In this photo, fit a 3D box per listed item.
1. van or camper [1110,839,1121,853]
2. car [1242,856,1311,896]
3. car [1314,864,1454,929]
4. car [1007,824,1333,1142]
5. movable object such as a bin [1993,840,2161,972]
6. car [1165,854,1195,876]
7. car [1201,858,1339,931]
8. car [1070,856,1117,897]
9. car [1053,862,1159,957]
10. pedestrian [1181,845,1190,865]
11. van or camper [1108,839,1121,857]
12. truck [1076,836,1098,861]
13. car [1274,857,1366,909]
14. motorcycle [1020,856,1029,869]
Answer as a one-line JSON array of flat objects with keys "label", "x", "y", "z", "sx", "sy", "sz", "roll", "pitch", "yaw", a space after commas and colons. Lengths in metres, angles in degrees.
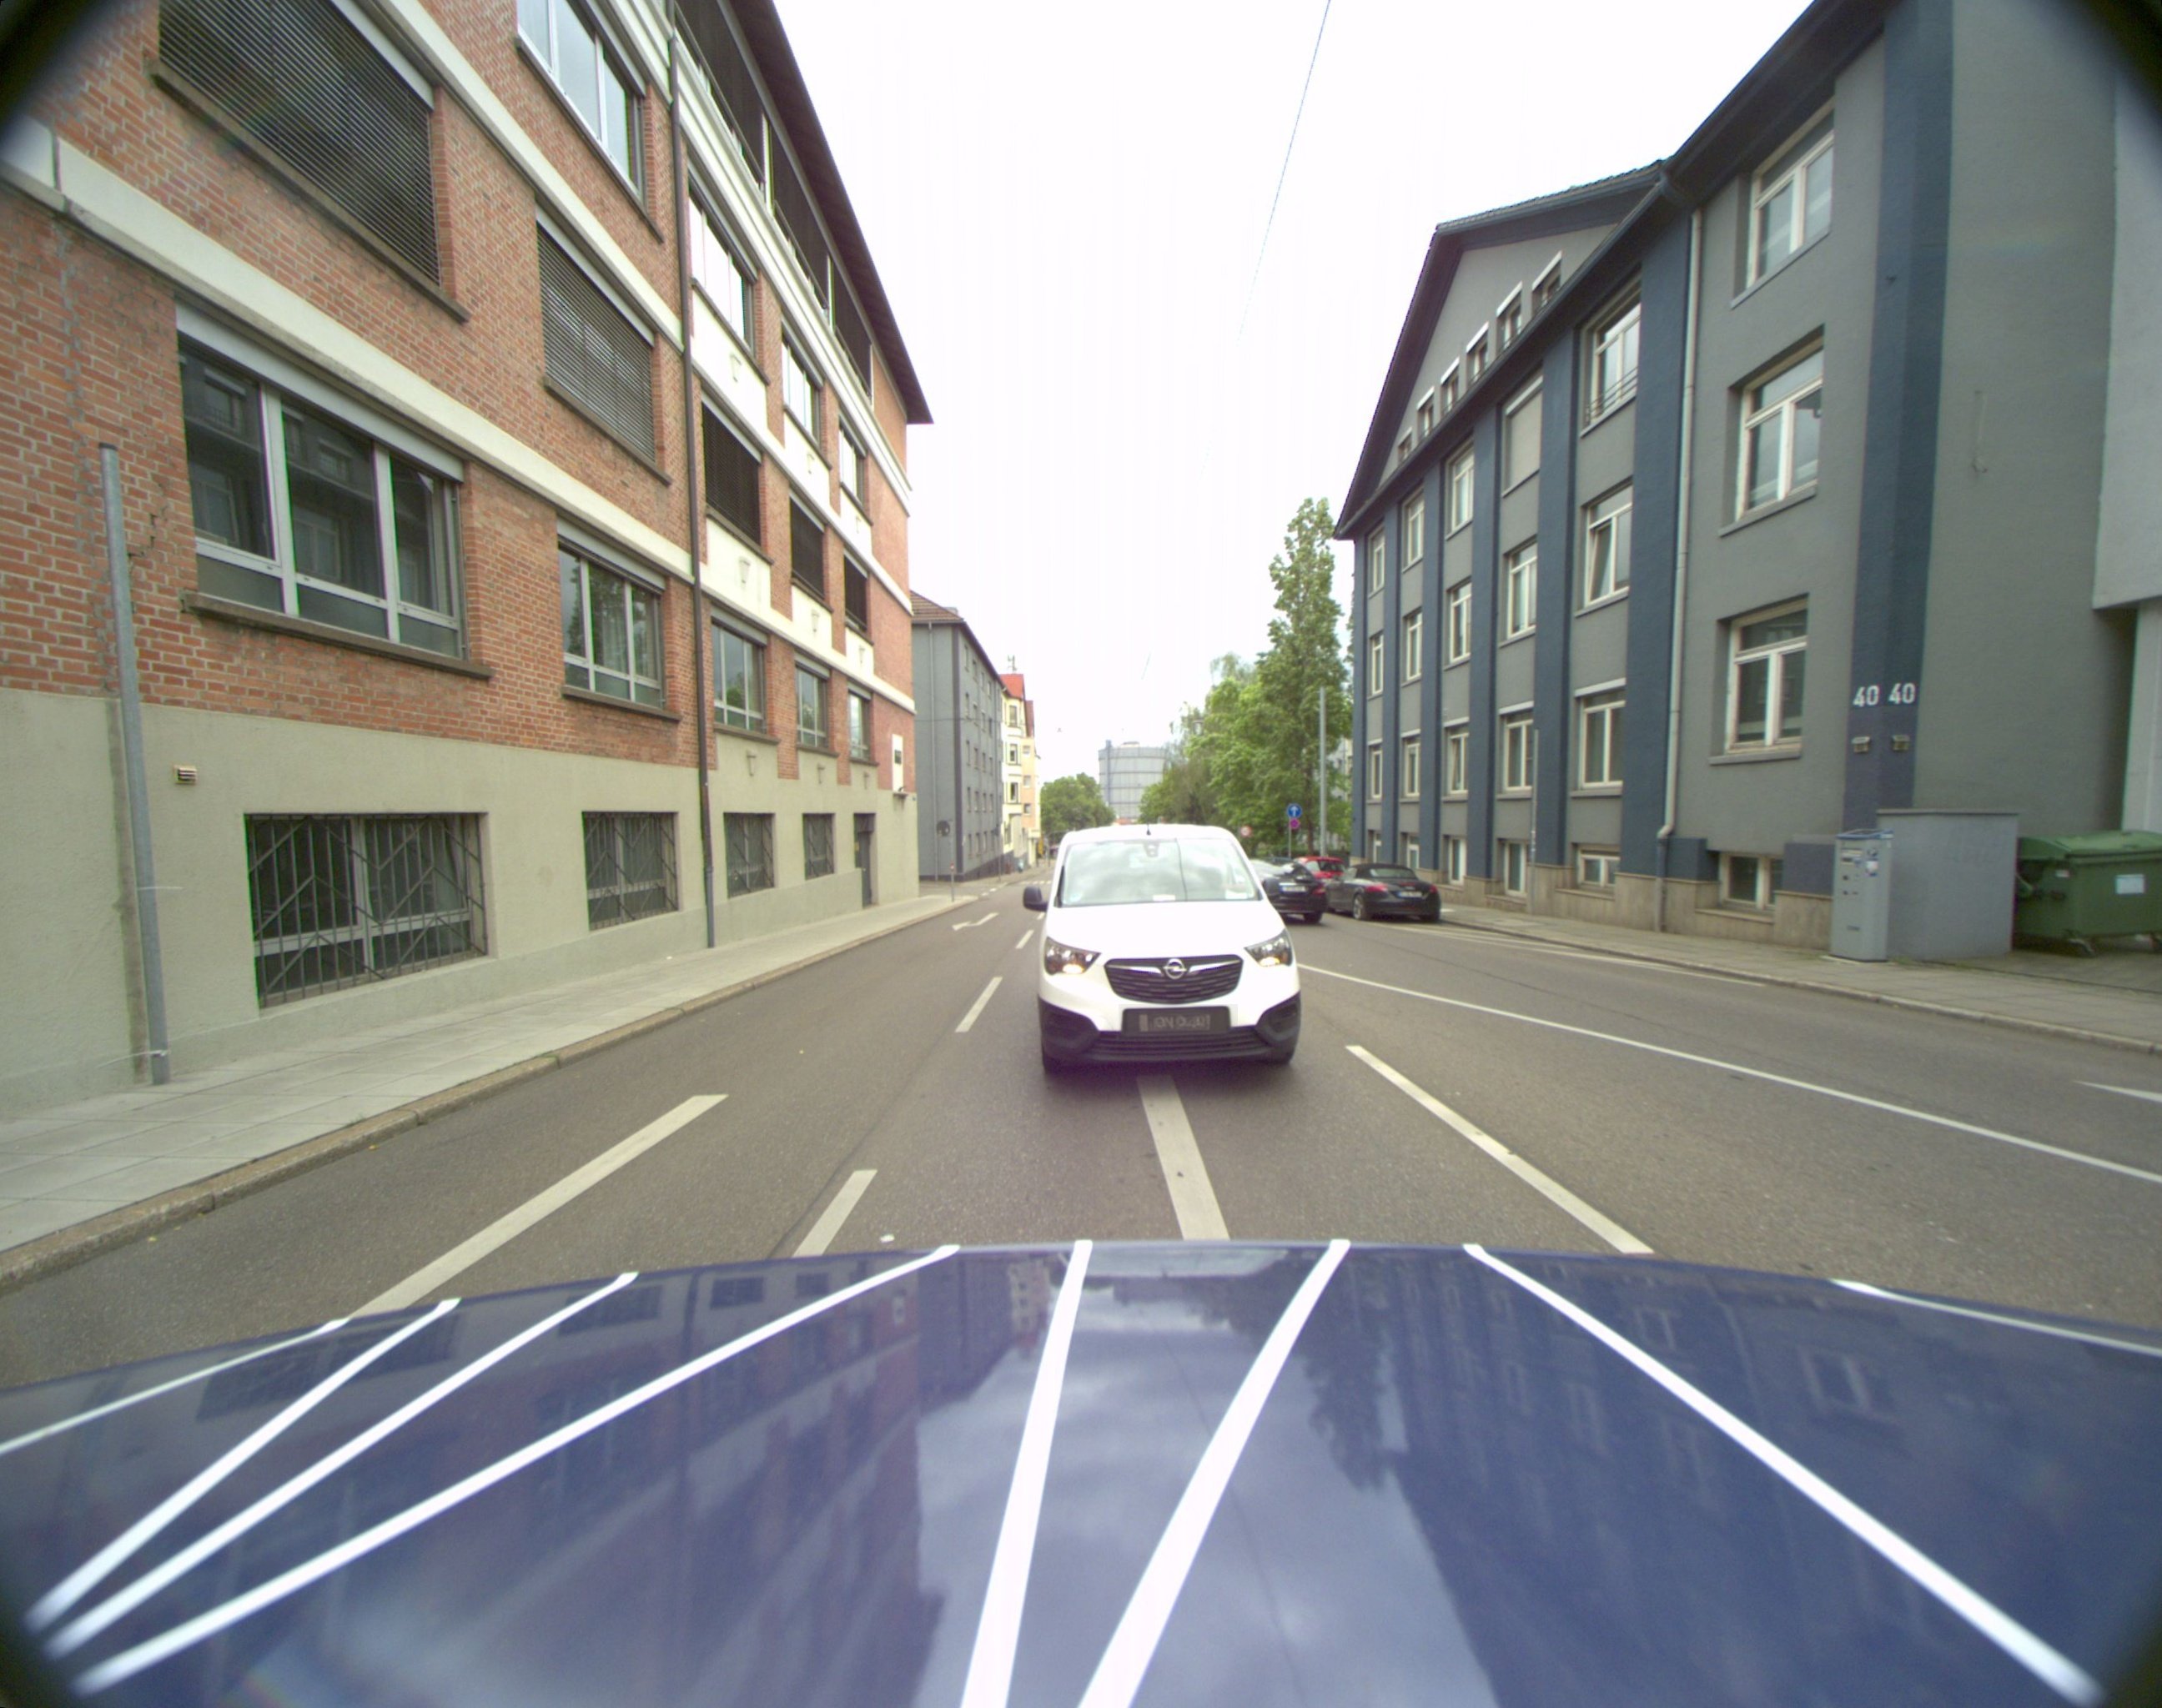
[{"label": "van or camper", "x": 6.779, "y": -1.541, "z": 149.779, "sx": 1.914, "sy": 2.754, "sz": 5.925, "roll": 1, "pitch": 0, "yaw": 2}, {"label": "car", "x": 7.588, "y": 0.809, "z": 29.860, "sx": 1.724, "sy": 1.445, "sz": 3.727, "roll": 1, "pitch": 0, "yaw": 0}, {"label": "car", "x": 7.199, "y": 0.949, "z": 18.515, "sx": 1.724, "sy": 1.319, "sz": 4.041, "roll": 2, "pitch": 0, "yaw": -1}, {"label": "car", "x": 0.567, "y": 0.750, "z": 6.913, "sx": 1.840, "sy": 1.797, "sz": 4.939, "roll": -2, "pitch": 0, "yaw": 1}, {"label": "movable object such as a bin", "x": 12.063, "y": 0.599, "z": 9.100, "sx": 1.267, "sy": 1.448, "sz": 0.784, "roll": -3, "pitch": 2, "yaw": 4}, {"label": "car", "x": 7.070, "y": 0.761, "z": 54.303, "sx": 1.677, "sy": 1.392, "sz": 3.794, "roll": 2, "pitch": 0, "yaw": 1}, {"label": "car", "x": 4.233, "y": 0.838, "z": 17.838, "sx": 1.790, "sy": 1.410, "sz": 4.668, "roll": 2, "pitch": 0, "yaw": -4}, {"label": "car", "x": 0.512, "y": 0.820, "z": 29.965, "sx": 1.724, "sy": 1.486, "sz": 3.727, "roll": 1, "pitch": 0, "yaw": 2}, {"label": "car", "x": 0.462, "y": 0.934, "z": 14.323, "sx": 1.724, "sy": 1.486, "sz": 3.727, "roll": 1, "pitch": 0, "yaw": 2}, {"label": "pedestrian", "x": 10.086, "y": 0.106, "z": 73.073, "sx": 0.746, "sy": 1.839, "sz": 0.776, "roll": -1, "pitch": 1, "yaw": 2}, {"label": "van or camper", "x": 5.228, "y": -1.009, "z": 119.930, "sx": 1.914, "sy": 2.754, "sz": 5.925, "roll": 1, "pitch": 0, "yaw": 2}, {"label": "truck", "x": 0.903, "y": -0.797, "z": 110.698, "sx": 2.980, "sy": 3.394, "sz": 9.358, "roll": -2, "pitch": 0, "yaw": 1}, {"label": "car", "x": 7.535, "y": 0.862, "z": 24.366, "sx": 1.819, "sy": 1.465, "sz": 3.869, "roll": 2, "pitch": 0, "yaw": 2}, {"label": "motorcycle", "x": -5.084, "y": 0.772, "z": 68.469, "sx": 0.566, "sy": 1.105, "sz": 1.653, "roll": 4, "pitch": 0, "yaw": 2}]
